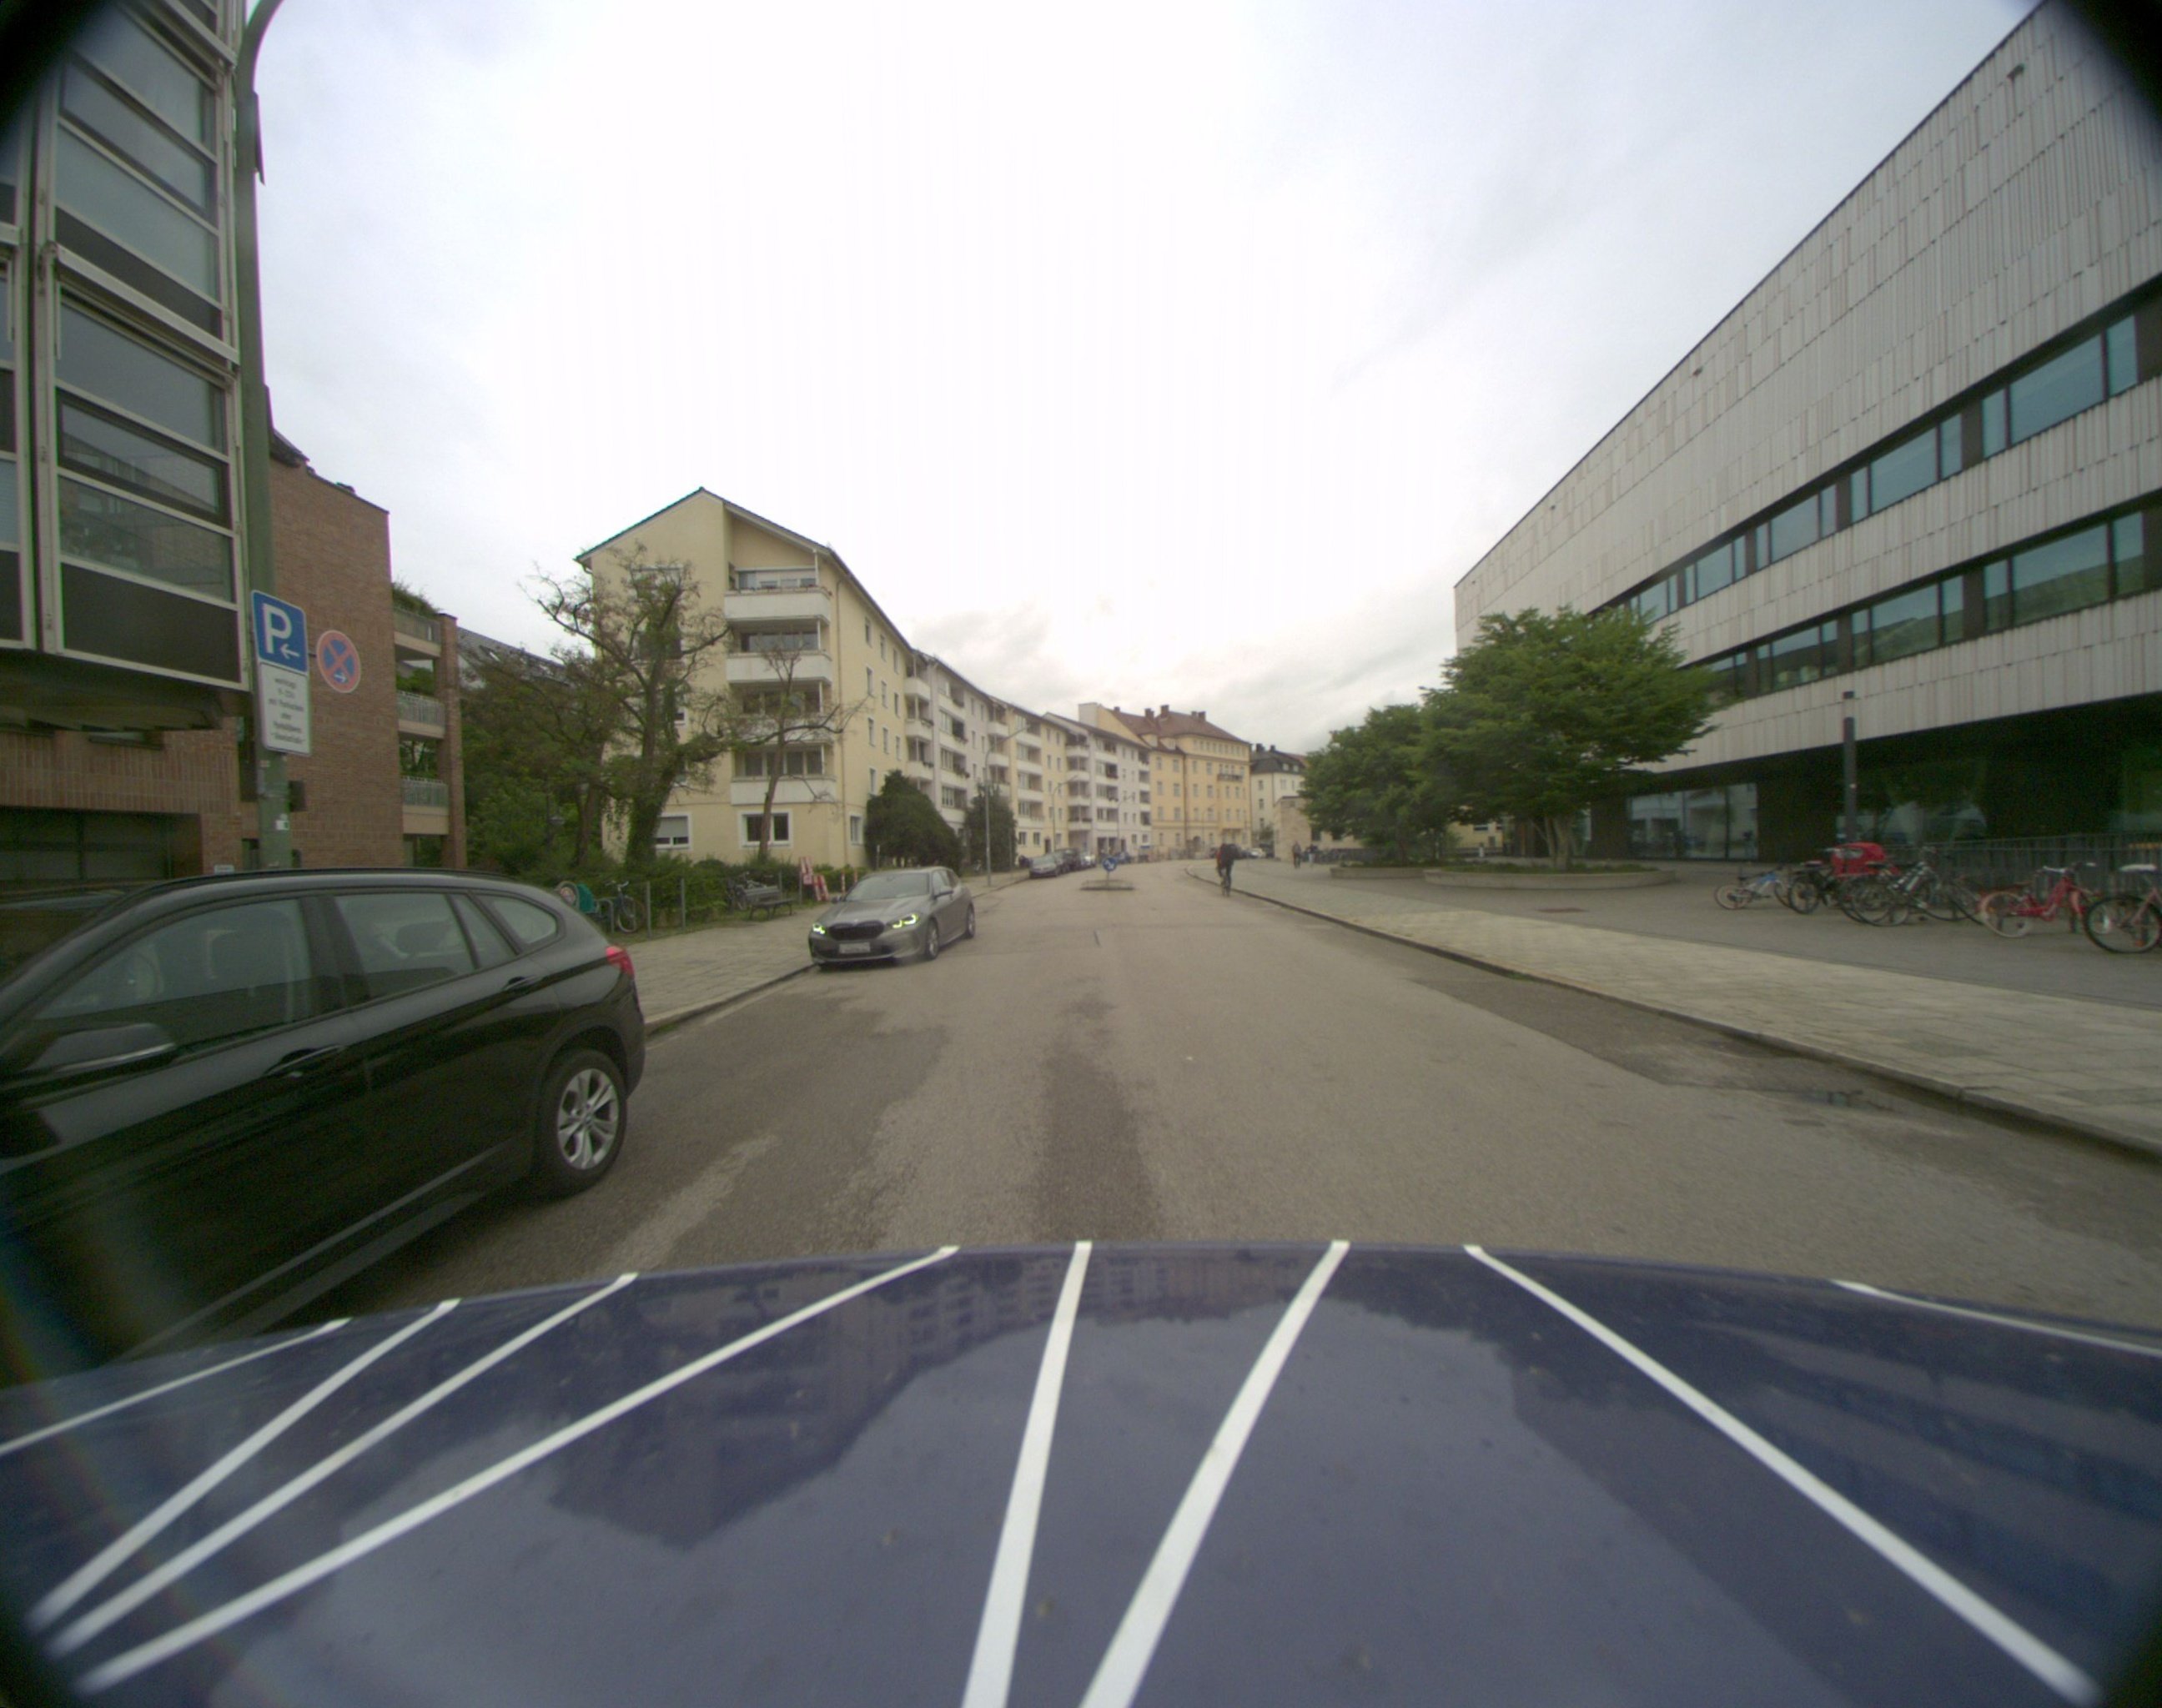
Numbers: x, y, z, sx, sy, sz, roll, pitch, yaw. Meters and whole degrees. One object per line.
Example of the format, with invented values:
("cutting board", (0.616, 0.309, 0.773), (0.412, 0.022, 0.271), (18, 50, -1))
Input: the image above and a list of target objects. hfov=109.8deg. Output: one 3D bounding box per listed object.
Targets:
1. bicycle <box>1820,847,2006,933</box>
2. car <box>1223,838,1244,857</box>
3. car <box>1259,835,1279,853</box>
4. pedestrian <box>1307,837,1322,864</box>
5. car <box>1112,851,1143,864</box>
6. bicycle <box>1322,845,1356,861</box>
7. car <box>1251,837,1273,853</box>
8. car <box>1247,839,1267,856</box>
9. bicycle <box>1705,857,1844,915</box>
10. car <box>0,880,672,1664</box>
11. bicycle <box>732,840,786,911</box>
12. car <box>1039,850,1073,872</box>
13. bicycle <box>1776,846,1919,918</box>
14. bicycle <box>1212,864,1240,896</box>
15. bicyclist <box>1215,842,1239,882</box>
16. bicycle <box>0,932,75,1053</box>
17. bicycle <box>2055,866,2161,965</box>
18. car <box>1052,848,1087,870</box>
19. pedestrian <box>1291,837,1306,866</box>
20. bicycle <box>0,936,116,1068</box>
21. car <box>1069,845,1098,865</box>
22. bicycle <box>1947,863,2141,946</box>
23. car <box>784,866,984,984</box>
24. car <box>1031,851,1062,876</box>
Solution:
("bicycle", (12.398, 0.520, 11.369), (1.914, 1.187, 0.745), (-2, 1, 2))
("car", (16.897, -0.775, 83.995), (1.891, 2.002, 4.004), (-2, 1, 16))
("car", (26.351, -1.434, 106.398), (1.889, 2.343, 4.006), (-2, 1, 27))
("pedestrian", (15.487, -0.248, 50.386), (0.787, 1.776, 0.516), (-2, 1, 1))
("car", (5.160, 0.354, 84.621), (1.680, 1.281, 4.007), (-1, 1, 33))
("bicycle", (18.189, -0.075, 53.583), (2.146, 0.985, 0.798), (-2, 1, -9))
("car", (24.109, -1.158, 100.916), (1.889, 2.002, 4.006), (-2, 1, 27))
("car", (21.852, -0.833, 94.171), (1.890, 2.002, 4.005), (-2, 1, 20))
("bicycle", (12.920, 0.592, 14.201), (1.850, 0.921, 0.739), (-4, 1, 3))
("car", (-3.316, 0.987, 2.172), (1.882, 1.582, 4.506), (-2, 1, -1))
("bicycle", (-9.555, 0.612, 22.648), (0.653, 2.002, 1.993), (-2, 1, 1))
("car", (-1.772, 0.499, 55.240), (1.823, 1.467, 4.002), (-2, 0, 7))
("bicycle", (13.191, 0.473, 13.106), (1.814, 1.145, 0.519), (-2, 1, 6))
("bicycle", (5.019, 0.895, 26.348), (0.707, 1.042, 1.463), (-1, 0, 1))
("bicyclist", (5.000, 0.264, 26.093), (0.618, 1.342, 0.832), (-2, 1, 1))
("bicycle", (-10.131, 1.307, 6.701), (0.425, 1.050, 1.518), (-2, 1, 1))
("bicycle", (11.832, 0.650, 8.271), (1.585, 1.010, 0.443), (-3, 1, 12))
("car", (-0.849, 0.350, 59.879), (1.997, 1.587, 4.002), (-2, 1, 9))
("pedestrian", (13.896, -0.166, 48.518), (0.787, 1.776, 0.516), (-2, 1, 1))
("bicycle", (-9.595, 1.330, 6.556), (0.536, 1.050, 1.518), (-2, 1, 1))
("car", (0.275, 0.070, 67.923), (1.997, 1.630, 4.002), (-2, 1, 8))
("bicycle", (12.320, 0.636, 9.746), (1.818, 0.957, 0.473), (-2, 1, 2))
("car", (-3.039, 1.034, 12.816), (1.881, 1.428, 4.334), (-5, 0, 4))
("car", (-2.246, 0.599, 50.155), (1.754, 1.483, 3.999), (-2, 1, 1))
